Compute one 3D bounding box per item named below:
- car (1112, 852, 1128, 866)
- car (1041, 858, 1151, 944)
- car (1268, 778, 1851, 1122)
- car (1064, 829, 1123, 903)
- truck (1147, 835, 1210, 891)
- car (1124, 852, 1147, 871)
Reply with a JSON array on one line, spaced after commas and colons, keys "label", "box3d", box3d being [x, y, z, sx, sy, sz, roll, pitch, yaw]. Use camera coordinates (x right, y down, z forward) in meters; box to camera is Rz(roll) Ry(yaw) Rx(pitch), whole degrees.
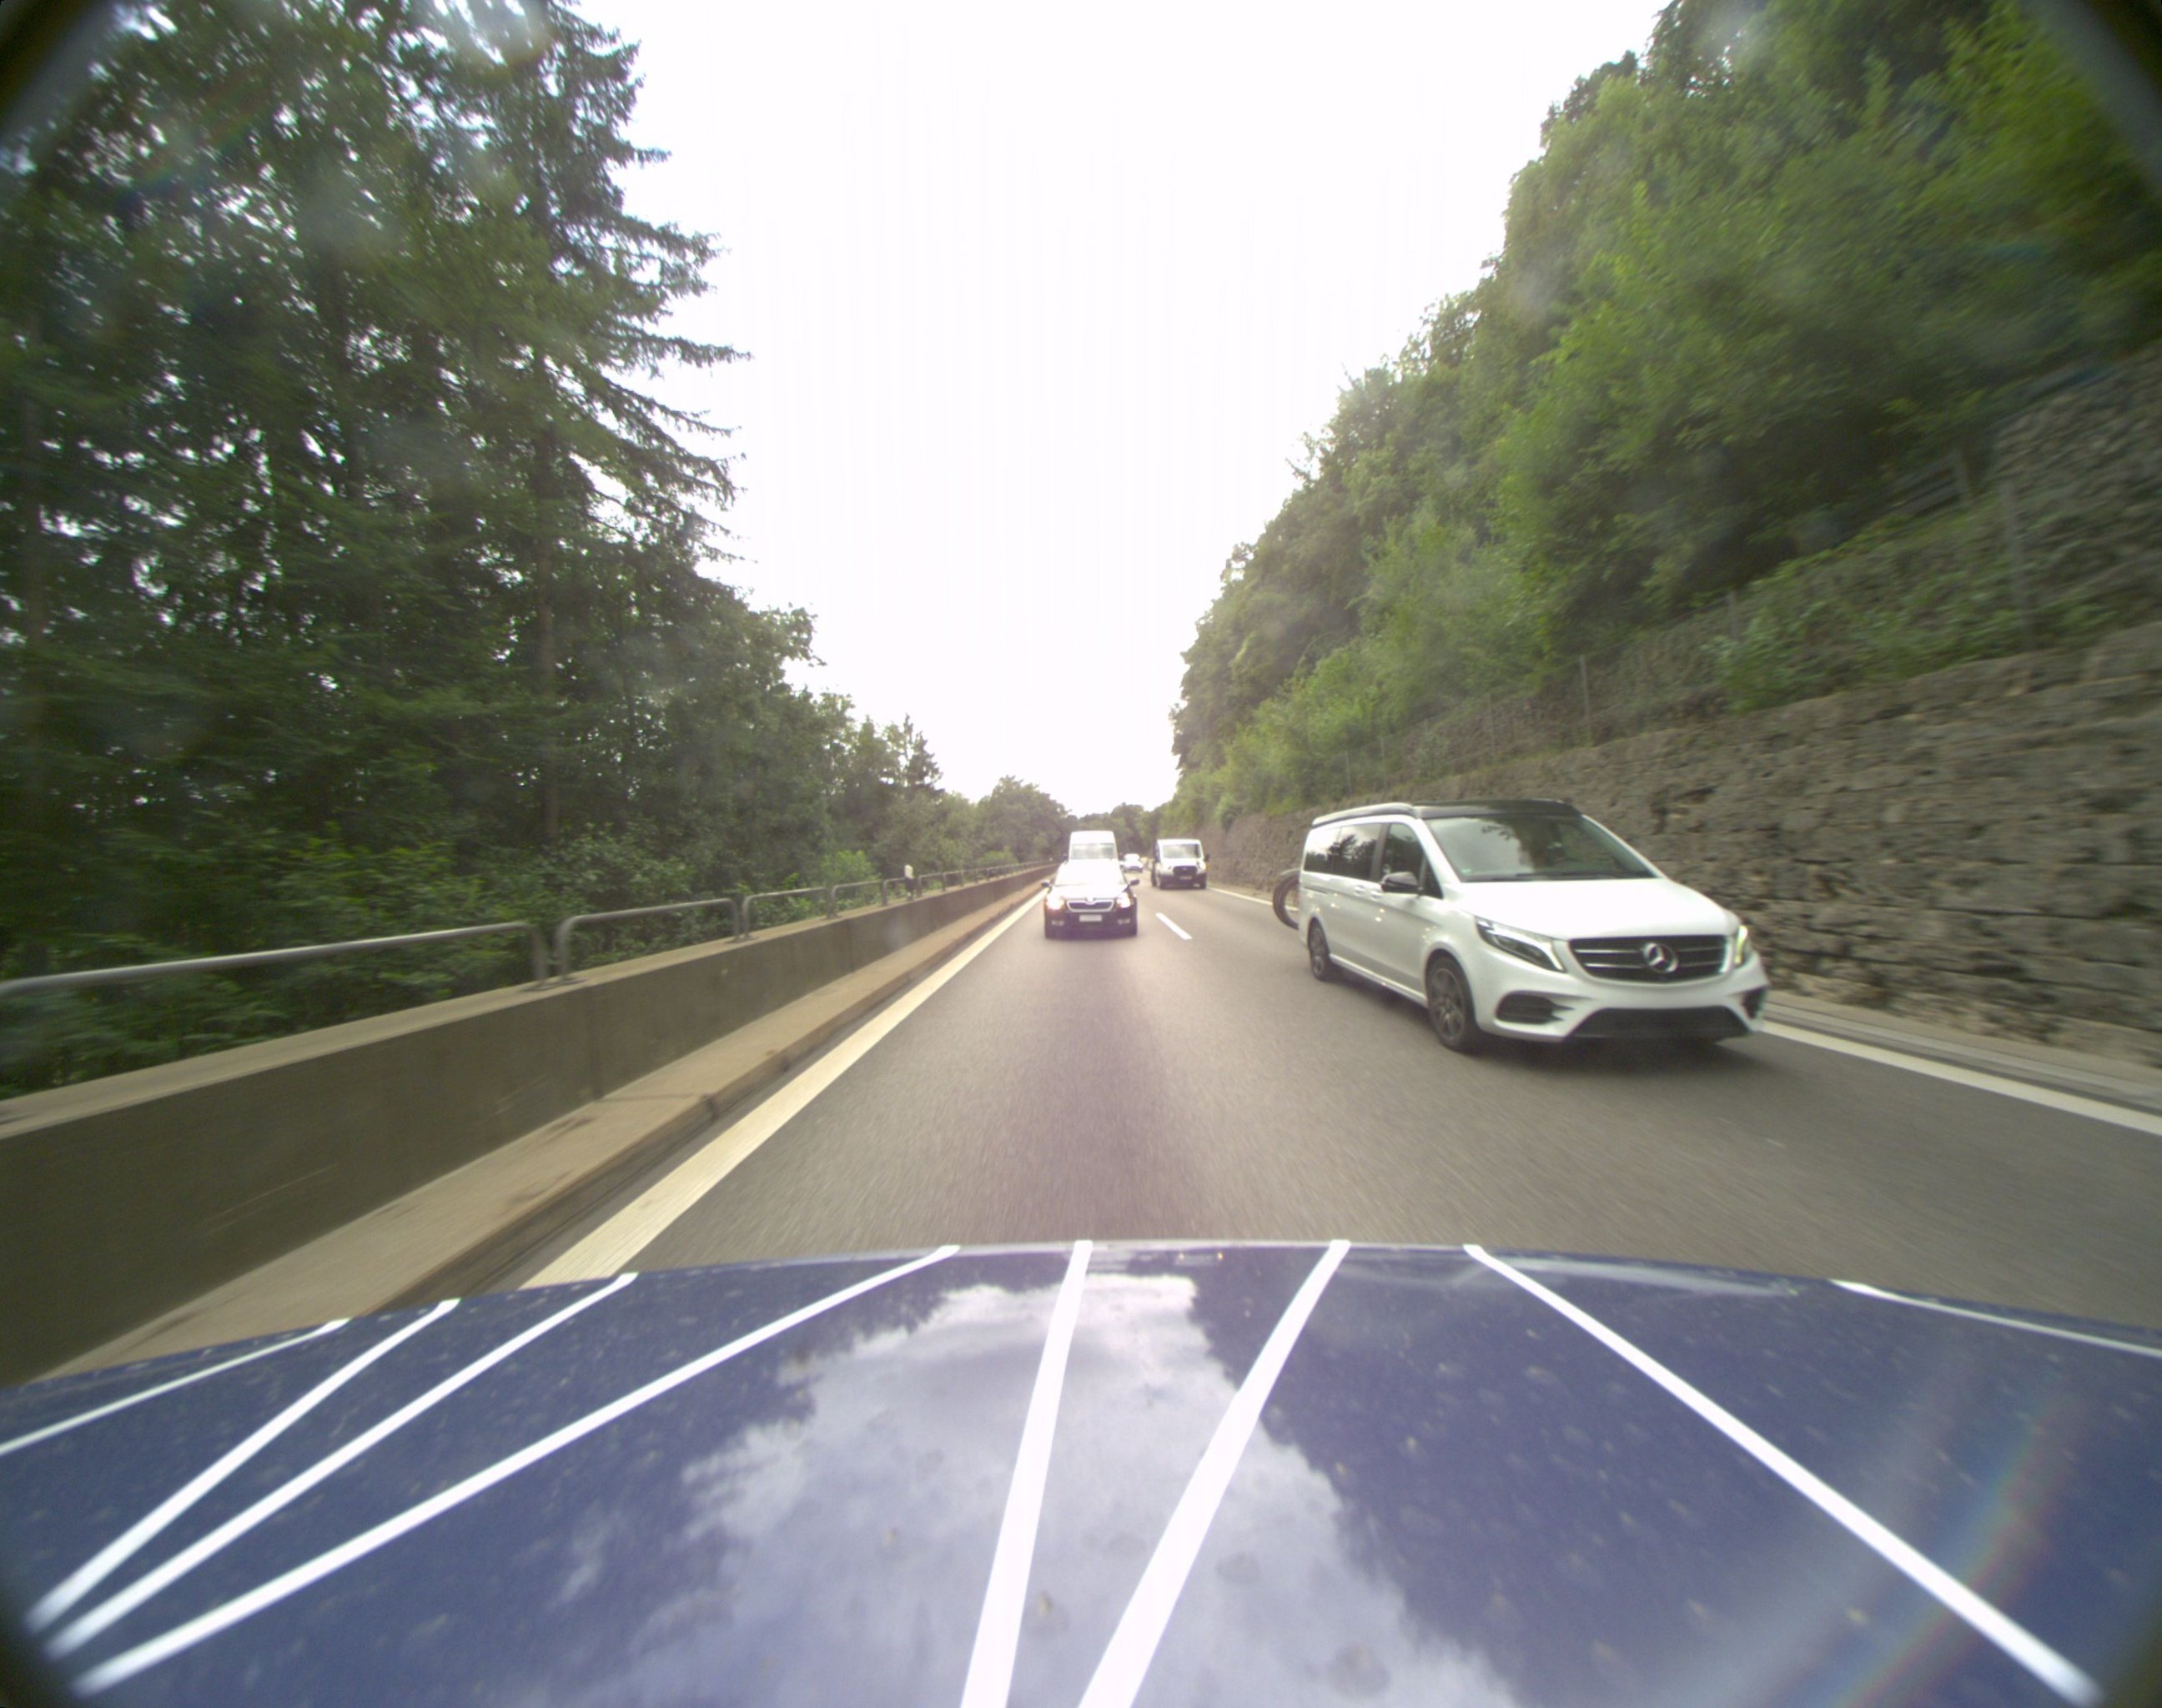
[{"label": "car", "box3d": [4.734, 0.597, 92.207, 1.711, 1.568, 4.602, -2, 0, 1]}, {"label": "car", "box3d": [0.216, 0.854, 16.442, 1.913, 1.391, 5.695, -3, 0, -1]}, {"label": "car", "box3d": [3.559, 0.561, 7.530, 1.998, 1.941, 6.148, -2, 0, 2]}, {"label": "car", "box3d": [0.582, 0.379, 29.322, 1.998, 2.550, 5.918, -1, 1, 3]}, {"label": "truck", "box3d": [4.374, 0.355, 35.143, 1.998, 2.266, 6.585, -2, 0, 0]}, {"label": "car", "box3d": [4.901, 0.643, 68.998, 1.711, 1.568, 4.602, -2, 0, 1]}]
